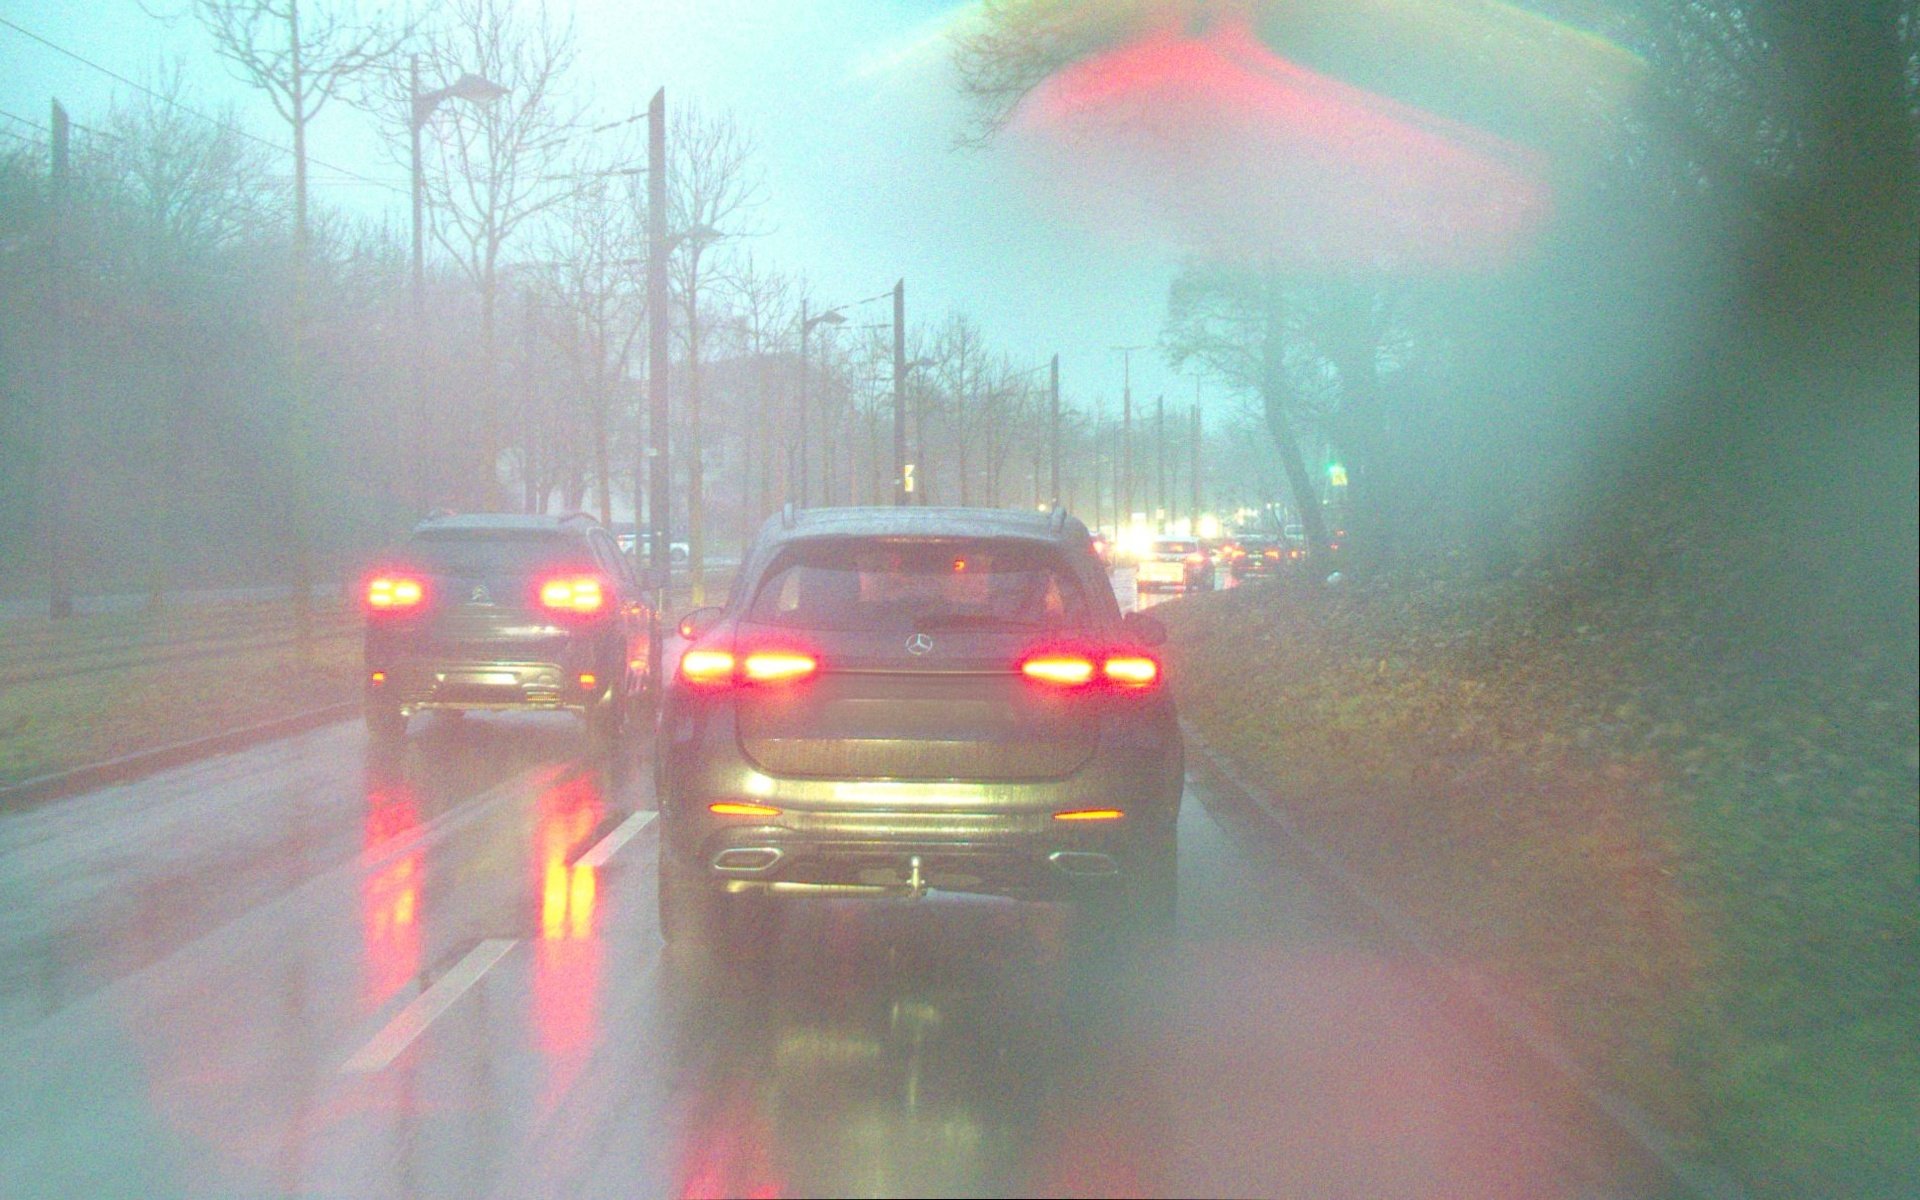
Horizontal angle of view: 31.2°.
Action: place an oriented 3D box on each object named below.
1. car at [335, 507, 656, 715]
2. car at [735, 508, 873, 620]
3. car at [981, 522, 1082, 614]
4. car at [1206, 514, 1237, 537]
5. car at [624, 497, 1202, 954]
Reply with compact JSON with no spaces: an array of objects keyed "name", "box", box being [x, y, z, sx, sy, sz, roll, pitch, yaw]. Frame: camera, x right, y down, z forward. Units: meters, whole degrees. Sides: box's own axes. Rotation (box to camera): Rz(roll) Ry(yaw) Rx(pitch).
[{"name":"car","box":[-3.470,0.028,26.361,1.880,1.454,4.000,0,2,0]},{"name":"car","box":[-2.300,-0.574,51.575,1.880,1.588,4.000,0,2,0]},{"name":"car","box":[1.250,-0.586,59.976,1.708,1.552,3.996,0,1,1]},{"name":"car","box":[19.239,-5.463,252.913,1.994,1.660,3.835,0,1,9]},{"name":"car","box":[-0.267,0.384,13.962,1.998,1.578,4.001,1,2,-3]}]
